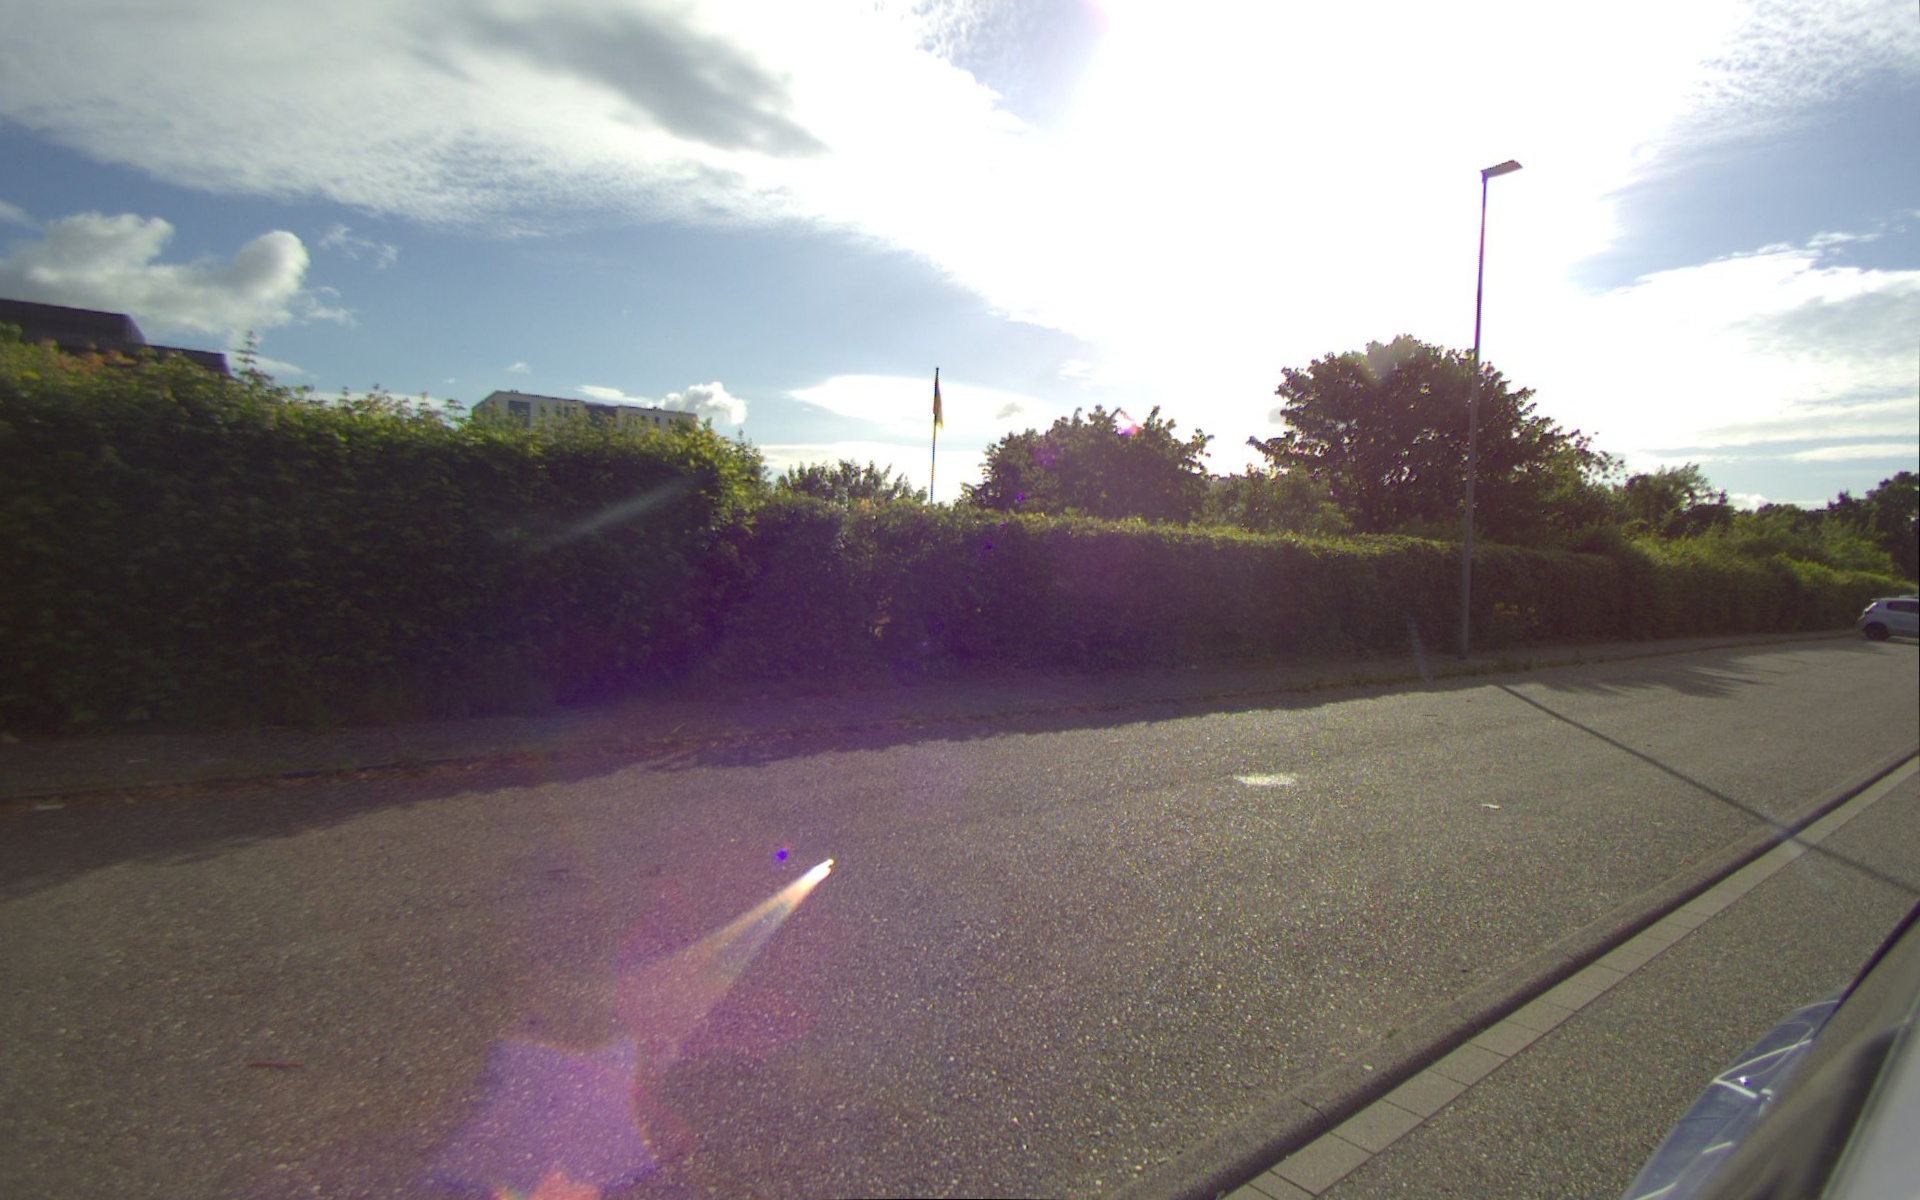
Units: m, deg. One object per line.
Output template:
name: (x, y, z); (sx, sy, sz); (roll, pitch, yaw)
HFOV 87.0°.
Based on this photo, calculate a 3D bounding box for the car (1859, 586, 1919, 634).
car: (33.173, 0.450, 34.227); (1.662, 1.508, 3.867); (2, 4, -41)

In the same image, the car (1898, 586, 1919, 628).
car: (41.261, 0.391, 40.970); (1.731, 1.720, 4.600); (0, 3, -39)
